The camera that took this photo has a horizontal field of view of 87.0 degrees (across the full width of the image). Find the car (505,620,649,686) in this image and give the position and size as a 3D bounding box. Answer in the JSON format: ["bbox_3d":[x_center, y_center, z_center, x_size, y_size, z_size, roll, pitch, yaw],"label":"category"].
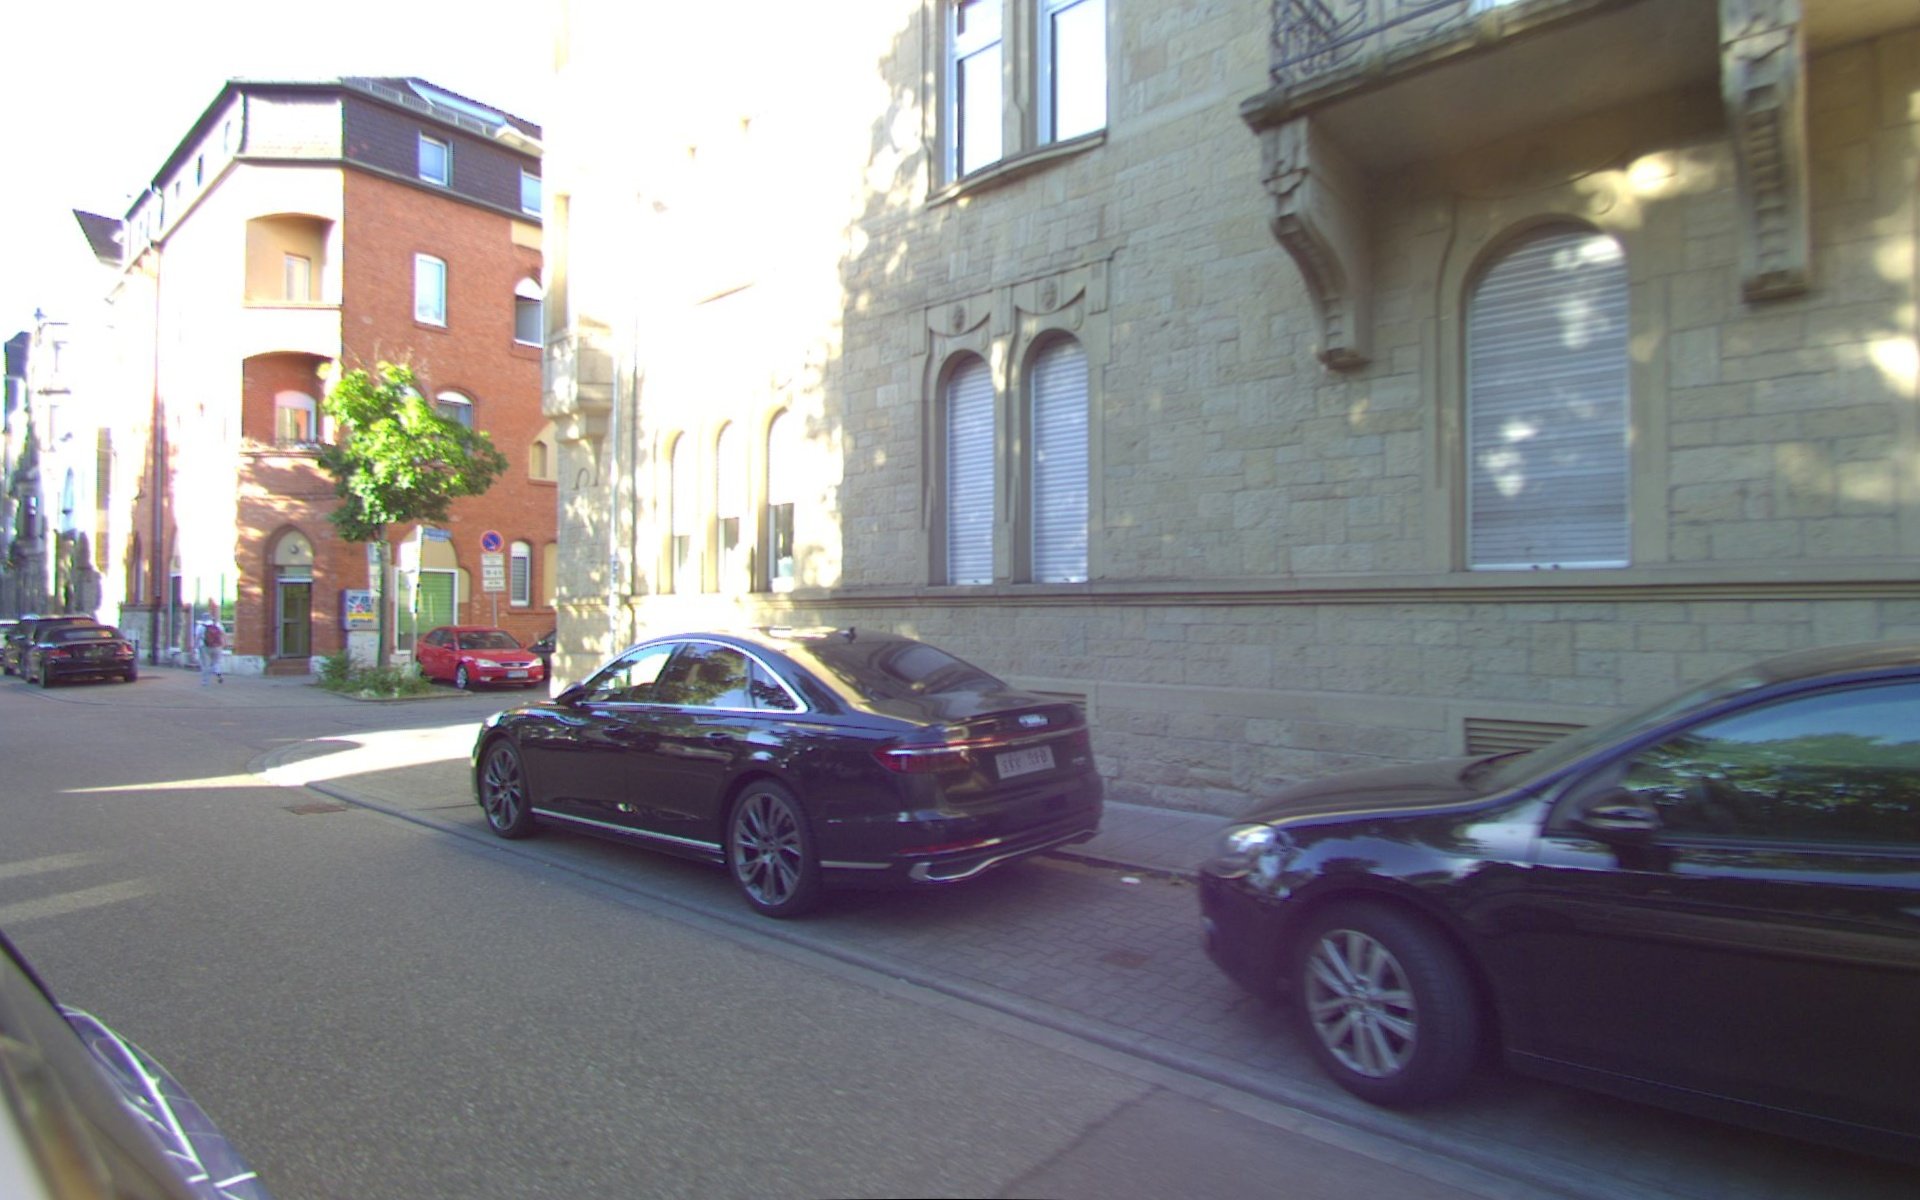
[{"bbox_3d":[-9.944,1.319,26.142,4.210,1.562,1.695,-1,-3,41],"label":"car"}]

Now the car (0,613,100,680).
[{"bbox_3d":[-25.227,1.208,27.849,4.346,1.693,1.652,-1,-1,40],"label":"car"}]

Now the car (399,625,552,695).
[{"bbox_3d":[-11.643,1.354,24.189,4.656,1.480,1.618,-1,-1,42],"label":"car"}]

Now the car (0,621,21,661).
[{"bbox_3d":[-36.376,1.534,37.651,4.108,1.454,1.659,-2,-1,40],"label":"car"}]

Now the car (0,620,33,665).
[{"bbox_3d":[-32.654,1.425,34.287,3.591,1.481,1.549,-2,-2,43],"label":"car"}]

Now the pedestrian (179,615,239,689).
[{"bbox_3d":[-16.954,1.145,22.851,1.053,1.589,0.878,1,0,41],"label":"pedestrian"}]

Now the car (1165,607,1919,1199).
[{"bbox_3d":[2.796,0.771,2.914,4.024,1.464,1.679,0,-2,40],"label":"car"}]

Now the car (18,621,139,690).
[{"bbox_3d":[-21.103,1.257,24.176,4.331,1.421,1.618,-1,1,41],"label":"car"}]

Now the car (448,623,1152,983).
[{"bbox_3d":[-1.358,0.911,6.585,4.895,1.437,1.792,-1,1,41],"label":"car"}]
